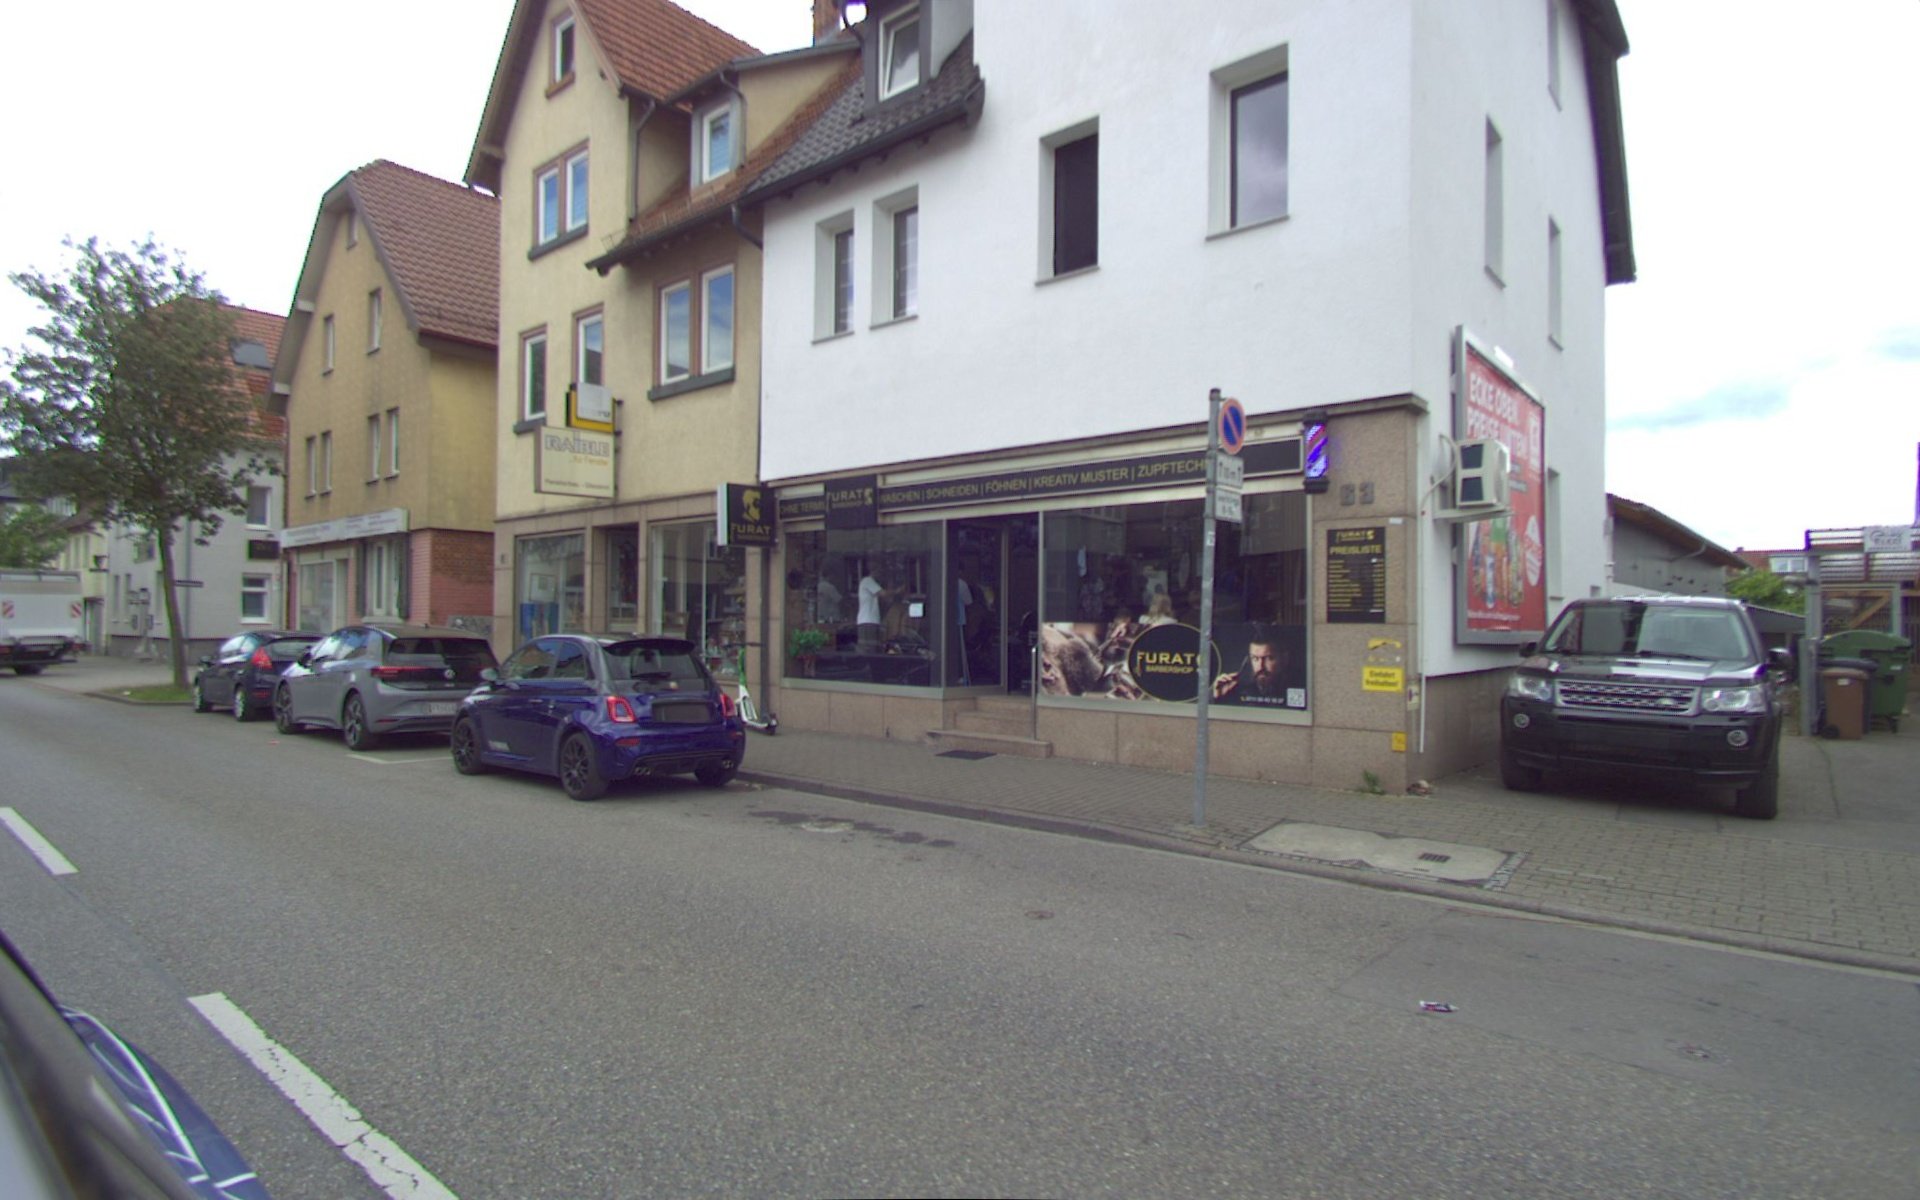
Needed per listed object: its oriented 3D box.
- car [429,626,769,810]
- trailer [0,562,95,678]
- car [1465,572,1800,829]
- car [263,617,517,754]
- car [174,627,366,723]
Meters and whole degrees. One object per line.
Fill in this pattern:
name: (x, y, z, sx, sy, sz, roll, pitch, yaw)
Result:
car: (-3.719, 1.041, 10.173, 3.590, 1.504, 1.665, -1, -3, 41)
trailer: (-29.827, 0.550, 30.349, 7.073, 3.244, 2.497, 0, -1, 17)
car: (6.061, 0.686, 8.916, 1.999, 1.715, 3.946, -1, -1, 40)
car: (-7.815, 1.055, 13.721, 4.112, 1.578, 1.692, -1, -3, 41)
car: (-11.855, 1.214, 17.302, 3.928, 1.435, 1.665, -1, -3, 40)
